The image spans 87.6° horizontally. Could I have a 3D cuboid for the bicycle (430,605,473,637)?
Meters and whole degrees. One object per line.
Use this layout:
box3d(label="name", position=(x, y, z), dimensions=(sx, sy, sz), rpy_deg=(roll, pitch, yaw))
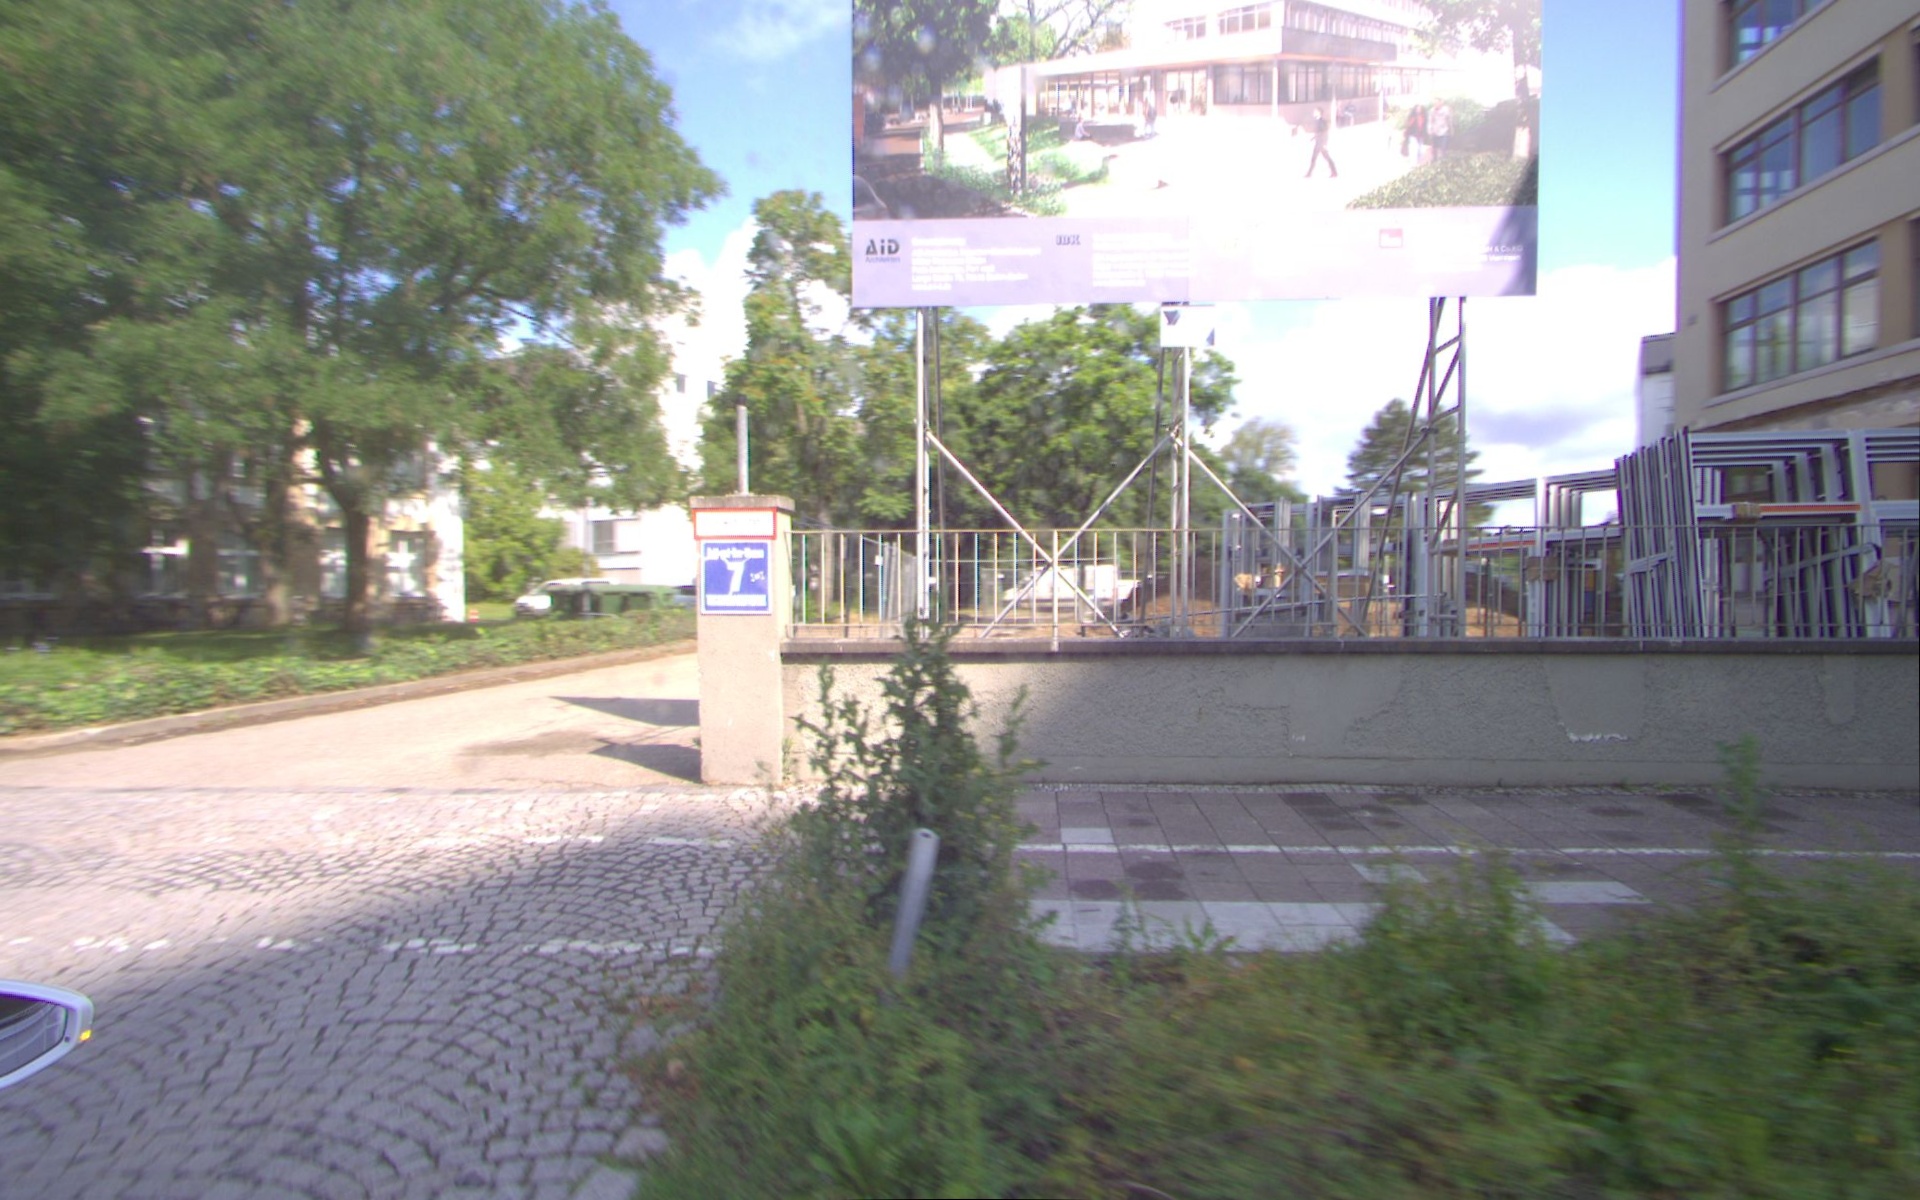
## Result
box3d(label="bicycle", position=(-17.492, 0.727, 34.449), dimensions=(2.040, 1.070, 0.417), rpy_deg=(-2, -1, 36))

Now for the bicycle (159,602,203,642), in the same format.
box3d(label="bicycle", position=(-21.788, 0.632, 27.990), dimensions=(2.040, 1.070, 0.417), rpy_deg=(-2, -1, 36))

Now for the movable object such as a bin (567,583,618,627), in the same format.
box3d(label="movable object such as a bin", position=(-11.984, 0.180, 32.659), dimensions=(1.214, 1.365, 0.944), rpy_deg=(-1, -4, 26))

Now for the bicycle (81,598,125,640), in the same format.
box3d(label="bicycle", position=(-22.823, 0.515, 26.666), dimensions=(2.040, 1.070, 0.417), rpy_deg=(-2, -1, 36))

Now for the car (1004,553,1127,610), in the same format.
box3d(label="car", position=(6.091, -1.022, 57.829), dimensions=(6.848, 3.086, 1.998), rpy_deg=(0, -2, 17))

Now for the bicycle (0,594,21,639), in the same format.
box3d(label="bicycle", position=(-23.996, 0.431, 25.008), dimensions=(2.040, 1.070, 0.417), rpy_deg=(-2, -1, 36))

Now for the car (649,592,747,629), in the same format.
box3d(label="car", position=(-11.074, 0.496, 42.550), dimensions=(1.734, 1.438, 3.898), rpy_deg=(-3, -3, 31))

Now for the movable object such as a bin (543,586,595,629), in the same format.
box3d(label="movable object such as a bin", position=(-13.148, 0.258, 33.674), dimensions=(1.359, 1.365, 0.944), rpy_deg=(-1, -4, 26))

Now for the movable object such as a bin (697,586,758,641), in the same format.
box3d(label="movable object such as a bin", position=(-6.761, 0.382, 29.097), dimensions=(1.236, 1.501, 1.286), rpy_deg=(4, -2, -38))

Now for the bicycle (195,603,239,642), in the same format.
box3d(label="bicycle", position=(-21.274, 0.656, 28.653), dimensions=(2.040, 1.070, 0.417), rpy_deg=(-2, -1, 36))

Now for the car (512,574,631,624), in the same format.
box3d(label="car", position=(-17.892, 0.022, 46.352), dimensions=(1.974, 1.988, 4.929), rpy_deg=(-5, -4, 33))

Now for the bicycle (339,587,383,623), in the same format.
box3d(label="bicycle", position=(-19.133, 0.178, 31.982), dimensions=(2.040, 1.069, 0.417), rpy_deg=(-2, -4, 36))

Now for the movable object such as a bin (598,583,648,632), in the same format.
box3d(label="movable object such as a bin", position=(-10.786, 0.259, 32.085), dimensions=(1.214, 1.469, 0.878), rpy_deg=(-1, -4, 26))

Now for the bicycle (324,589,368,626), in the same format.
box3d(label="bicycle", position=(-19.356, 0.241, 31.564), dimensions=(2.040, 1.069, 0.417), rpy_deg=(-2, -4, 36))

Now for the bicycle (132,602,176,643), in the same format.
box3d(label="bicycle", position=(-22.236, 0.636, 27.617), dimensions=(2.040, 1.070, 0.417), rpy_deg=(-2, -1, 36))

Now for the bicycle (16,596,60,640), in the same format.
box3d(label="bicycle", position=(-23.564, 0.480, 25.587), dimensions=(2.040, 1.070, 0.417), rpy_deg=(-2, -1, 36))

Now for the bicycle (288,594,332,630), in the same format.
box3d(label="bicycle", position=(-20.013, 0.379, 30.812), dimensions=(2.040, 1.070, 0.417), rpy_deg=(-2, -1, 36))

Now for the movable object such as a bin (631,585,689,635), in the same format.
box3d(label="movable object such as a bin", position=(-9.425, 0.327, 31.479), dimensions=(1.322, 1.469, 1.100), rpy_deg=(-1, -4, 26))

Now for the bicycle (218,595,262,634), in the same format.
box3d(label="bicycle", position=(-21.116, 0.437, 29.346), dimensions=(2.040, 1.070, 0.417), rpy_deg=(-2, -1, 36))
